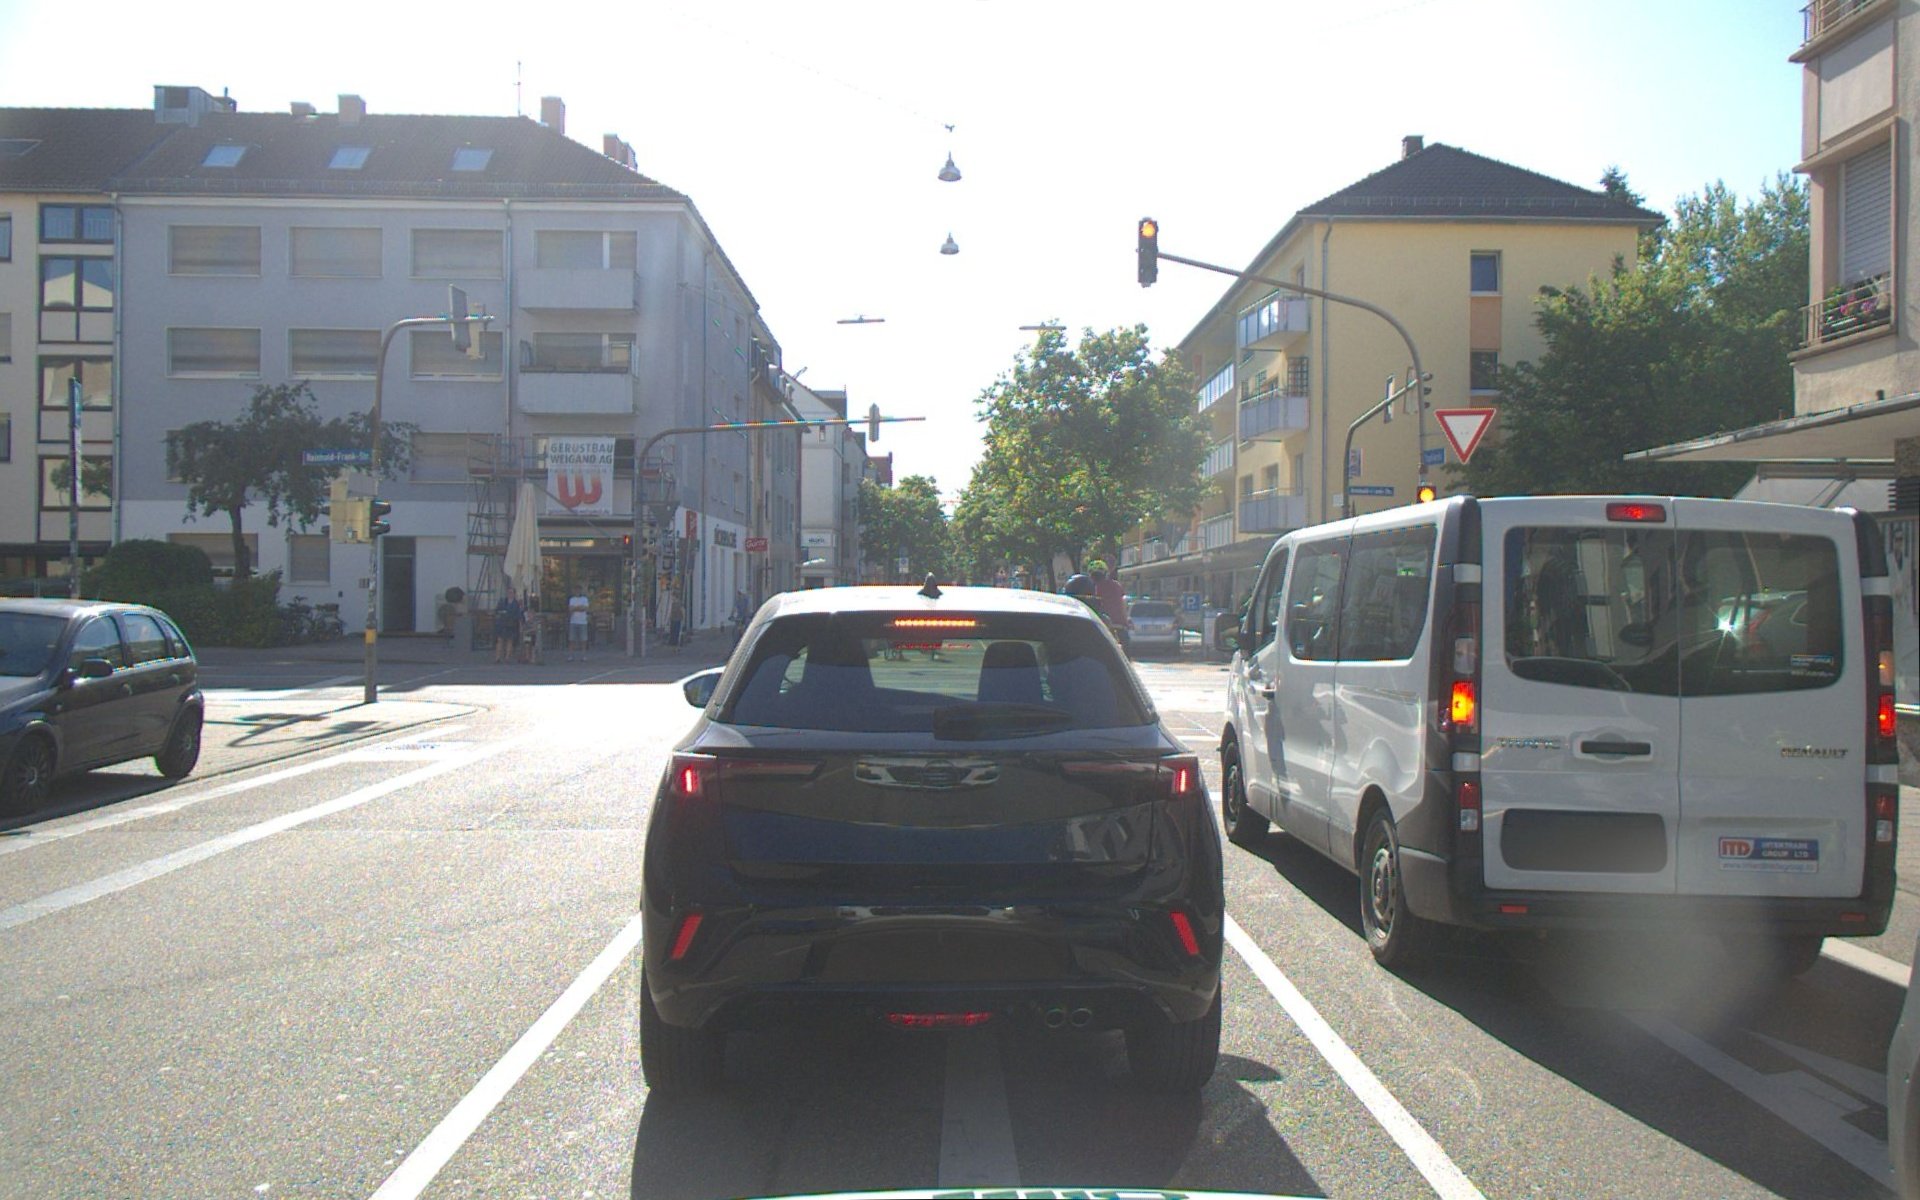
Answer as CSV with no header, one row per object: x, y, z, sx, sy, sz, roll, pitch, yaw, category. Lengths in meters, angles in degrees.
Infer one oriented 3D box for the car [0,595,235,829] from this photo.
-7.047,0.724,12.408,1.584,1.450,3.709,2,0,-1,car

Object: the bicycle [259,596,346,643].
-16.917,0.485,42.544,2.067,1.193,0.735,0,0,-25,bicycle

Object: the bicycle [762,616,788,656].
-4.891,0.940,43.863,0.511,1.010,2.338,0,0,-3,bicycle

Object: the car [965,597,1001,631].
1.216,0.749,88.412,1.863,1.758,4.073,0,0,0,car

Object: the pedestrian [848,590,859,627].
-5.068,0.402,78.963,0.478,1.719,0.588,0,0,-1,pedestrian

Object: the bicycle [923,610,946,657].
-0.670,0.853,42.939,0.511,1.167,2.169,0,0,-3,bicycle

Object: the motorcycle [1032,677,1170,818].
1.000,1.042,12.148,0.808,0.860,1.884,0,0,-1,motorcycle

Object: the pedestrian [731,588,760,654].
-5.648,0.553,43.544,0.692,1.707,0.802,0,0,-3,pedestrian

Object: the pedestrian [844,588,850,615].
-7.005,0.103,102.461,0.394,1.704,0.417,0,0,-1,pedestrian

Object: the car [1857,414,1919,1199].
3.002,0.577,1.232,1.799,1.901,4.994,0,0,-2,car

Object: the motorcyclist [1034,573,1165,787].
1.025,0.570,12.414,0.846,1.528,1.159,0,0,-2,motorcyclist

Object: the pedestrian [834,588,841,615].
-7.615,0.104,102.784,0.394,1.704,0.417,0,0,-1,pedestrian

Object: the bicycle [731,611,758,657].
-5.710,0.874,43.870,0.511,1.167,2.282,0,0,-3,bicycle

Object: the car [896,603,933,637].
-2.398,1.032,87.750,1.787,1.758,4.000,0,0,1,car

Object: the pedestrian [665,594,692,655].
-7.173,0.615,42.174,0.605,1.547,0.724,0,0,-4,pedestrian

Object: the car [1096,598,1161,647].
5.255,0.668,51.991,1.601,1.458,3.999,0,0,-1,car

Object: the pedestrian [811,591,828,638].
-5.187,0.540,61.091,0.558,1.719,0.588,0,0,-1,pedestrian

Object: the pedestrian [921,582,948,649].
-0.665,0.393,43.035,0.692,1.731,0.802,0,0,-3,pedestrian

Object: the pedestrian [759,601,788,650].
-4.889,0.674,43.465,0.692,1.275,0.802,0,0,-3,pedestrian

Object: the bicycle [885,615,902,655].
-1.763,0.928,43.982,0.434,1.010,2.068,0,0,-3,bicycle

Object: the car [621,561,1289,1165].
-0.091,0.675,6.308,1.735,1.557,3.998,0,0,-3,car

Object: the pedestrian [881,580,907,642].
-1.745,0.281,43.745,0.666,1.634,0.762,0,0,-3,pedestrian

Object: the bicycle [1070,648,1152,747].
1.594,1.007,17.736,0.565,0.920,2.300,0,0,-3,bicycle

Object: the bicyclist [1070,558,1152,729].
1.590,0.439,17.587,0.675,1.742,1.413,0,0,-3,bicyclist

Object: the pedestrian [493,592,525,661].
-10.169,0.598,37.285,0.573,1.547,0.649,0,0,-4,pedestrian

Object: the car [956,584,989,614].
0.717,-0.062,97.654,1.863,1.758,4.000,0,0,0,car

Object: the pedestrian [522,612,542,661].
-9.669,0.823,37.342,0.348,1.111,0.461,0,0,-4,pedestrian

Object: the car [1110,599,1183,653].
5.287,0.719,47.327,1.601,1.458,3.956,0,0,-1,car

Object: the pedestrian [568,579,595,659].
-8.676,0.427,37.913,0.550,1.806,0.582,1,0,-9,pedestrian

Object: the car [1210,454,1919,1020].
2.717,0.504,8.562,1.953,2.013,4.894,3,0,-1,car
